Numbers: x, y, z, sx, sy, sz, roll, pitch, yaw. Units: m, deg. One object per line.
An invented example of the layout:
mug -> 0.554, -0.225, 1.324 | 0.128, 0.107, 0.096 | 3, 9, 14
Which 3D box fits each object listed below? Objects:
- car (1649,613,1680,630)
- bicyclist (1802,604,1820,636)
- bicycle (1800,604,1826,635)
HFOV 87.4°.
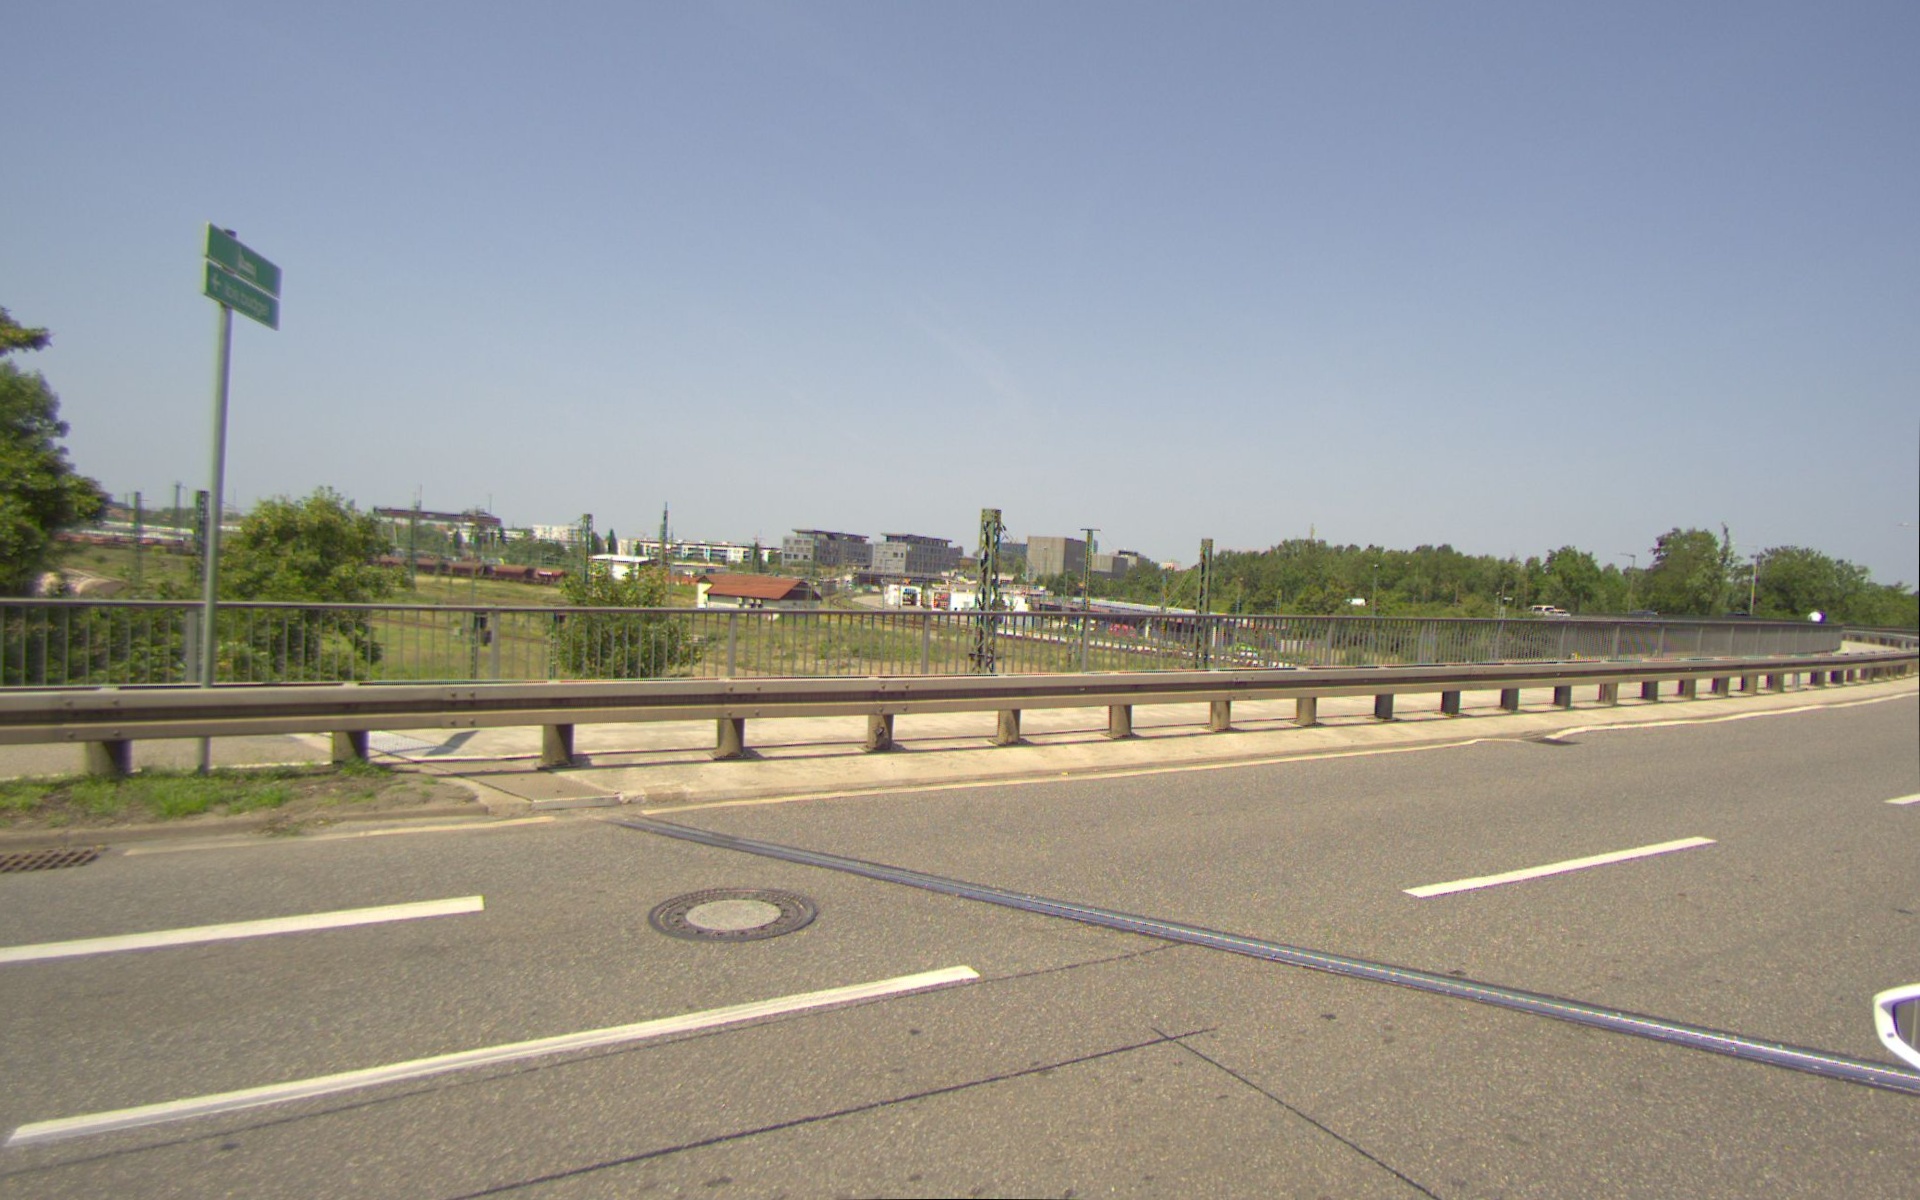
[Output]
car -> 77.476, 2.344, 110.520 | 1.646, 1.662, 3.770 | 2, 1, 18
bicyclist -> 53.318, 1.252, 62.941 | 0.615, 1.911, 0.711 | 3, 2, 28
bicycle -> 53.040, 1.178, 62.486 | 0.687, 1.826, 2.177 | 3, 2, 28
